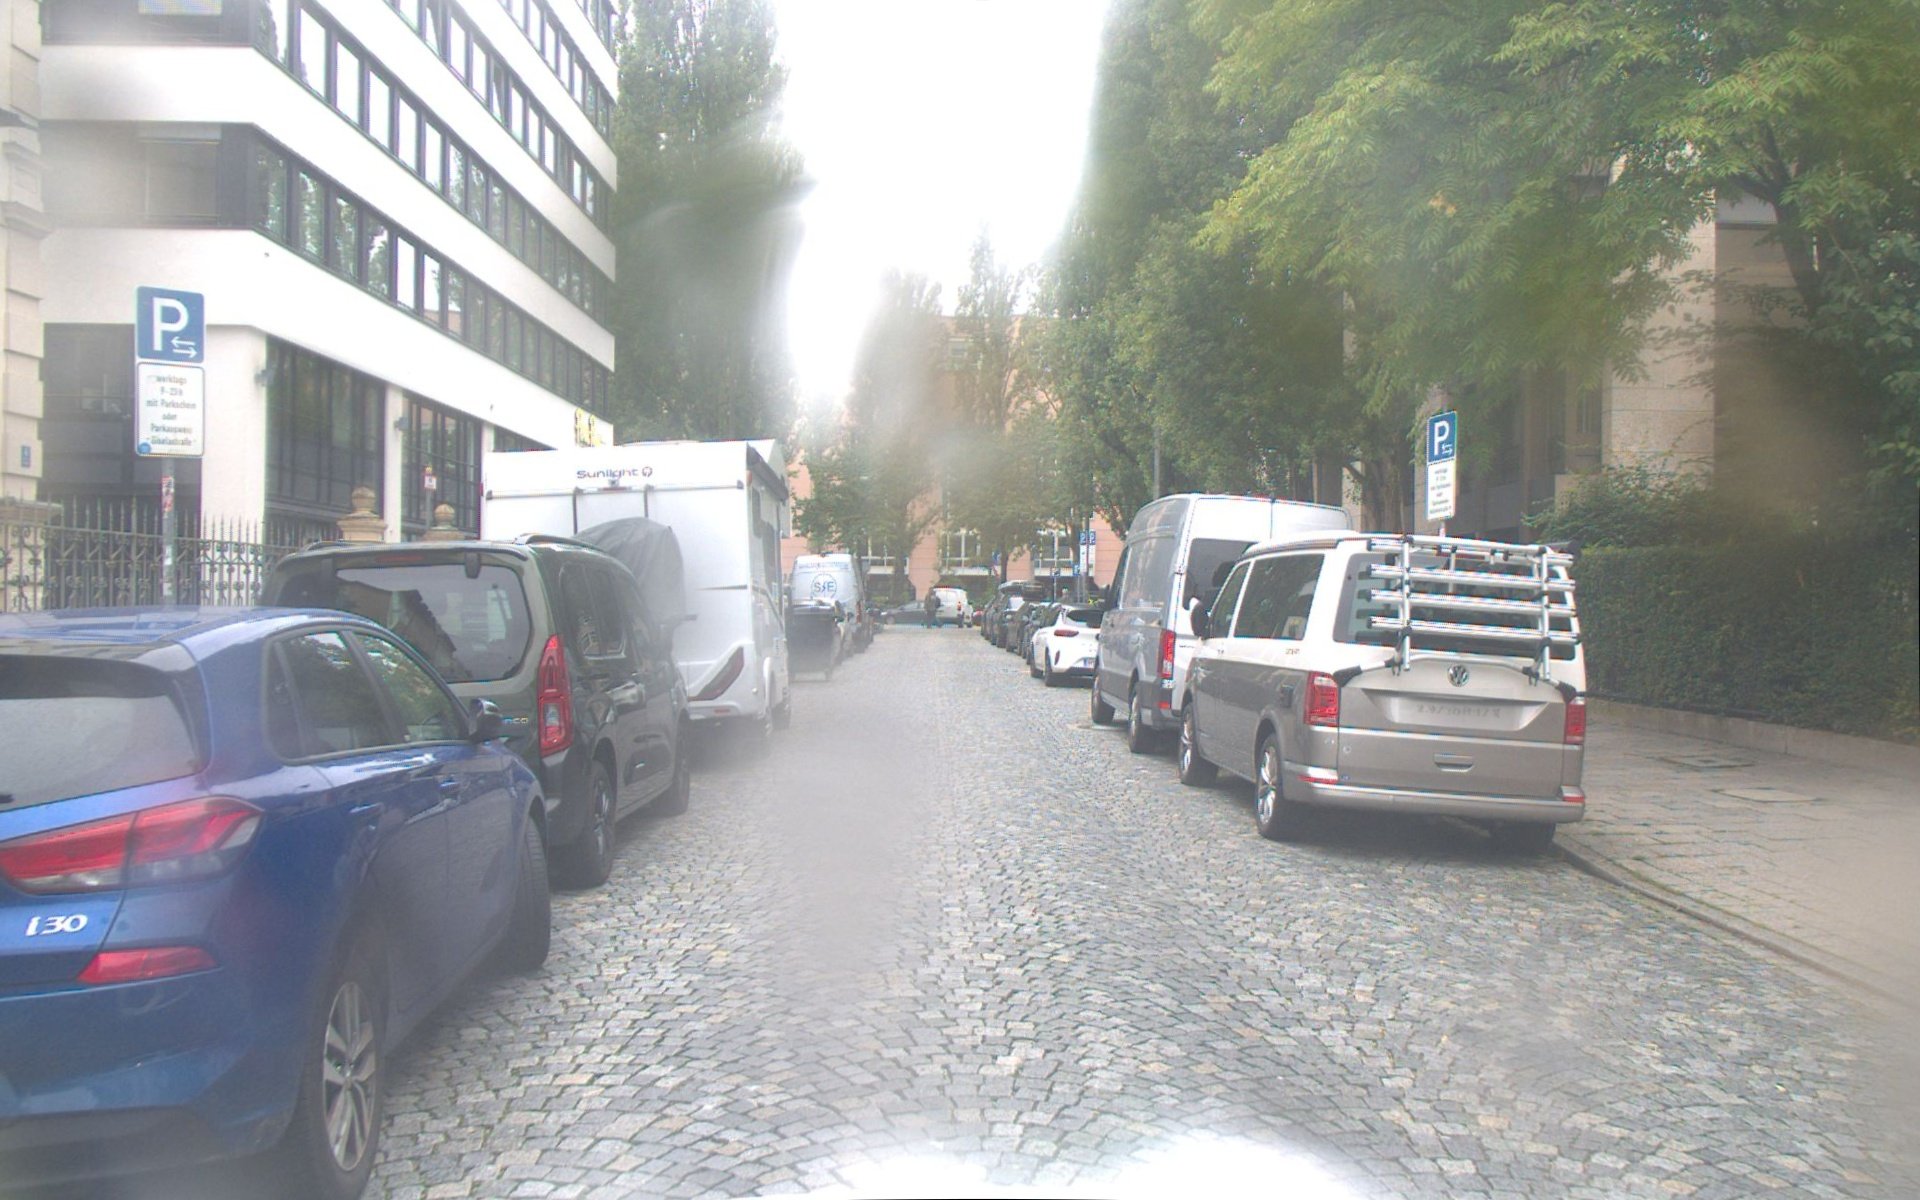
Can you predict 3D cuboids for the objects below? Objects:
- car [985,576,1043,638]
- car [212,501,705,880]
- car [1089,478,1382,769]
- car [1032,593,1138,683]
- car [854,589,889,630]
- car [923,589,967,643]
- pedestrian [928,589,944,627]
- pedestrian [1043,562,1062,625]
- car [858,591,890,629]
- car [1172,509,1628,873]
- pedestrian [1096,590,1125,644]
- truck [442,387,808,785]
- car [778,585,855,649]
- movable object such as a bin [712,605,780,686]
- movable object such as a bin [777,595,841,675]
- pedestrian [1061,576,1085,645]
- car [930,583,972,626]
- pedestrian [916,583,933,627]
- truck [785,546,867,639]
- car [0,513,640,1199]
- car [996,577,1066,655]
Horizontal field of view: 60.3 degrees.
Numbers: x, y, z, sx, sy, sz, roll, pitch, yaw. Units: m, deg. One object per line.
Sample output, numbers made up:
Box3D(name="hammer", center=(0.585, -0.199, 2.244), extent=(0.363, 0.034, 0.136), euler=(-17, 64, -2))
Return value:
Box3D(name="car", center=(1.822, 0.246, 56.609), extent=(1.830, 1.995, 4.000), euler=(1, 0, 0))
Box3D(name="car", center=(-2.689, 0.416, 9.914), extent=(1.856, 1.781, 4.165), euler=(0, 0, -3))
Box3D(name="car", center=(2.703, 0.187, 17.696), extent=(1.857, 2.468, 5.609), euler=(4, 0, -2))
Box3D(name="car", center=(2.241, 0.670, 30.342), extent=(1.567, 1.512, 3.478), euler=(1, 0, -2))
Box3D(name="car", center=(-3.510, 0.372, 65.842), extent=(1.264, 1.567, 3.118), euler=(1, 0, -1))
Box3D(name="car", center=(-0.521, 0.540, 56.377), extent=(1.441, 1.735, 3.118), euler=(1, 0, -1))
Box3D(name="pedestrian", center=(-1.100, 0.348, 75.410), extent=(0.673, 1.716, 0.500), euler=(1, -1, 0))
Box3D(name="pedestrian", center=(3.617, -0.252, 64.519), extent=(0.697, 2.468, 0.813), euler=(0, 0, 0))
Box3D(name="car", center=(-3.652, 0.422, 70.731), extent=(1.251, 1.568, 3.118), euler=(1, 0, -1))
Box3D(name="car", center=(2.851, 0.538, 11.947), extent=(1.764, 1.983, 4.858), euler=(4, 0, -2))
Box3D(name="pedestrian", center=(4.955, 0.560, 54.359), extent=(0.776, 1.750, 0.854), euler=(1, -1, -6))
Box3D(name="truck", center=(-2.922, -0.139, 16.201), extent=(2.458, 3.084, 6.382), euler=(-1, 0, -2))
Box3D(name="car", center=(-3.488, 0.419, 40.773), extent=(1.628, 1.481, 3.546), euler=(1, 0, -1))
Box3D(name="movable object such as a bin", center=(-3.779, 0.787, 29.348), extent=(1.051, 1.387, 1.272), euler=(1, -1, -2))
Box3D(name="movable object such as a bin", center=(-2.716, 0.623, 29.944), extent=(1.042, 1.387, 1.289), euler=(1, -1, -1))
Box3D(name="pedestrian", center=(3.716, 0.338, 54.411), extent=(0.697, 2.230, 0.813), euler=(1, -1, 0))
Box3D(name="car", center=(-0.397, 0.224, 79.831), extent=(1.955, 1.970, 4.000), euler=(1, 0, 0))
Box3D(name="pedestrian", center=(-1.575, 0.242, 74.357), extent=(0.710, 1.944, 0.641), euler=(1, -1, 0))
Box3D(name="truck", center=(-3.615, -0.190, 45.294), extent=(1.953, 2.388, 4.067), euler=(1, 0, -1))
Box3D(name="car", center=(-2.272, 0.584, 5.059), extent=(1.901, 1.485, 4.056), euler=(1, 0, -2))
Box3D(name="car", center=(1.649, 0.371, 39.186), extent=(1.441, 1.735, 3.118), euler=(1, 0, -1))
